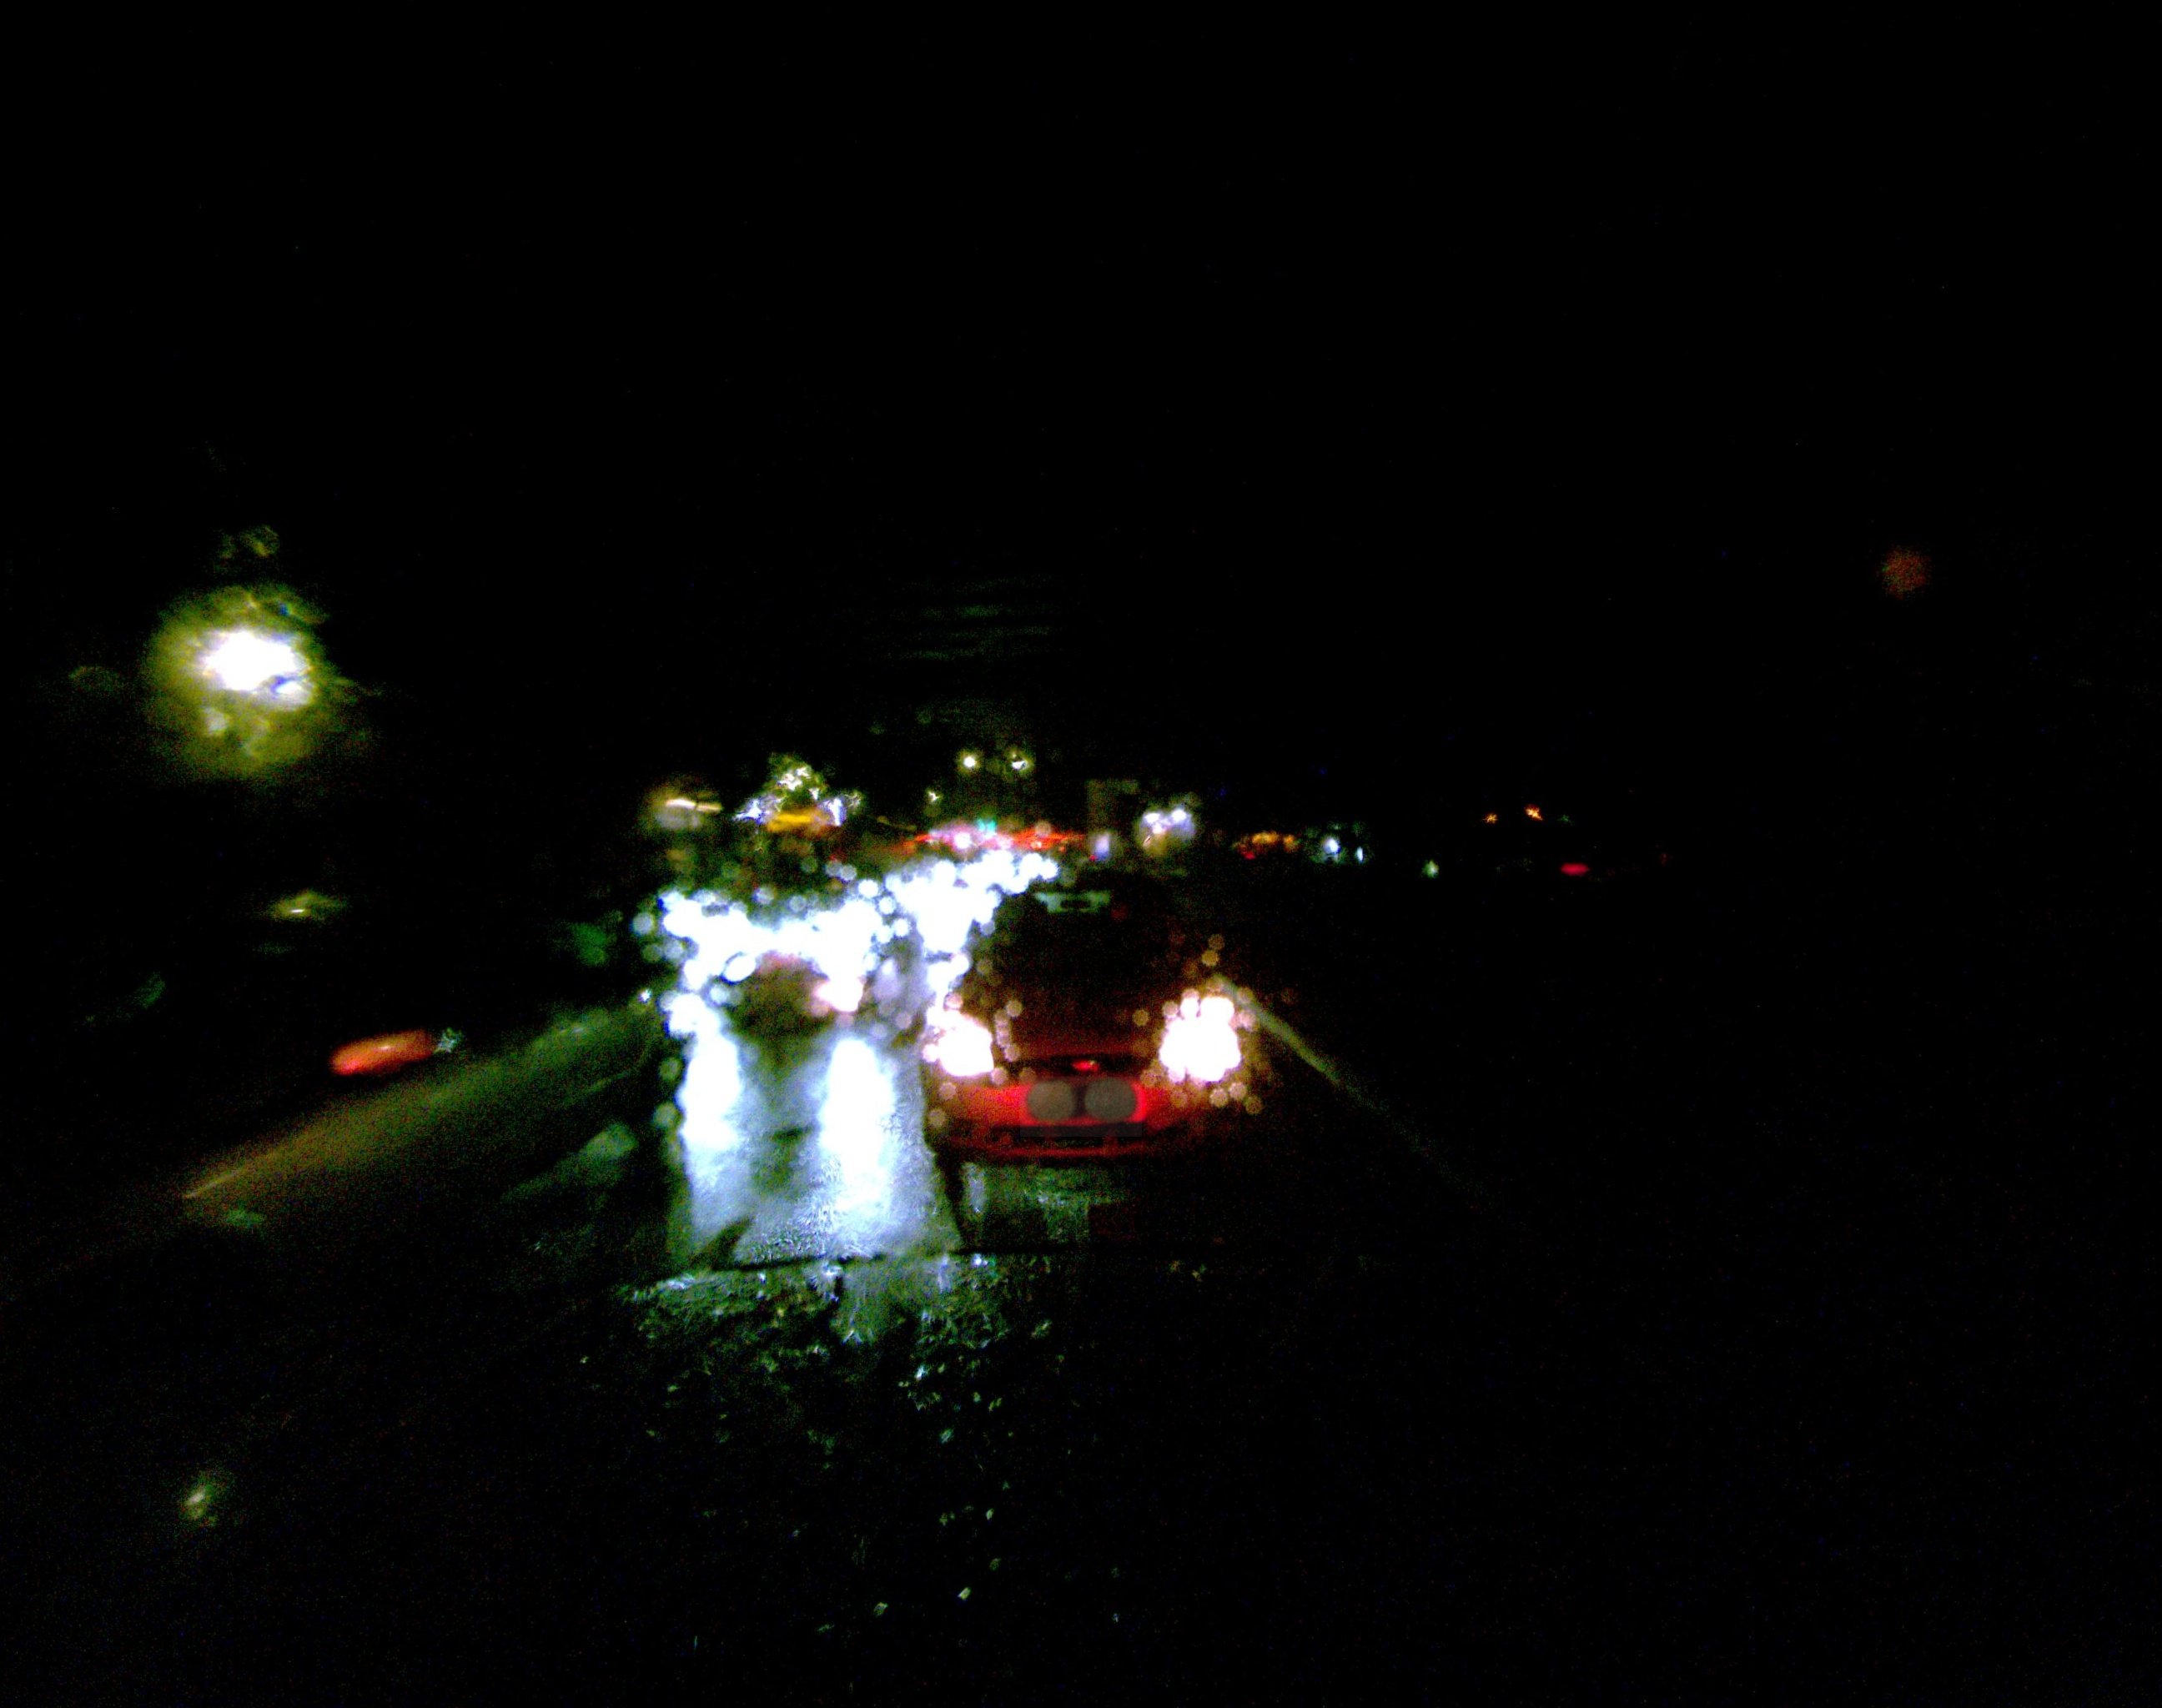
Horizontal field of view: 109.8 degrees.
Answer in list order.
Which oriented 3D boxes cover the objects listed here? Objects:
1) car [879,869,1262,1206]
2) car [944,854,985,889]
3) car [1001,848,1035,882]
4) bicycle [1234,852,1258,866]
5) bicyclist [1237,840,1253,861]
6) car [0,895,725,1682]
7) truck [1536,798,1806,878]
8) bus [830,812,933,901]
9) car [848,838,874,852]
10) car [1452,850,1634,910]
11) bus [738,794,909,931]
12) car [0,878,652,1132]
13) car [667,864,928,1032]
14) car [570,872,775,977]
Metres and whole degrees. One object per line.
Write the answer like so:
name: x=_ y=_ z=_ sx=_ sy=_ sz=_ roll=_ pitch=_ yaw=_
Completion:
car: x=-0.063 y=0.889 z=5.491 sx=1.755 sy=1.438 sz=3.973 roll=0 pitch=1 yaw=0
car: x=-5.204 y=0.736 z=34.330 sx=1.699 sy=1.455 sz=3.971 roll=0 pitch=1 yaw=-6
car: x=-3.465 y=0.555 z=41.366 sx=1.724 sy=1.695 sz=3.971 roll=0 pitch=1 yaw=-6
bicycle: x=11.667 y=0.336 z=53.754 sx=0.629 sy=0.899 sz=2.210 roll=-1 pitch=1 yaw=-17
bicyclist: x=11.631 y=-0.250 z=53.792 sx=0.630 sy=1.427 sz=1.186 roll=-1 pitch=1 yaw=-17
car: x=-3.155 y=1.025 z=2.792 sx=1.724 sy=1.438 sz=4.161 roll=-1 pitch=1 yaw=0
truck: x=36.092 y=-0.951 z=46.941 sx=13.671 sy=4.416 sz=2.743 roll=-1 pitch=1 yaw=7
bus: x=-8.348 y=0.021 z=33.070 sx=2.742 sy=3.219 sz=9.693 roll=-2 pitch=1 yaw=-6
car: x=-23.732 y=-0.953 z=81.923 sx=1.712 sy=1.382 sz=3.990 roll=-2 pitch=1 yaw=-32
car: x=12.813 y=0.652 z=21.476 sx=2.041 sy=1.478 sz=4.495 roll=0 pitch=1 yaw=-7
bus: x=-7.391 y=0.141 z=23.450 sx=2.742 sy=3.258 sz=9.693 roll=-2 pitch=1 yaw=-6
car: x=-6.436 y=1.086 z=7.470 sx=1.724 sy=1.478 sz=4.786 roll=-1 pitch=1 yaw=0
car: x=-3.316 y=0.991 z=9.852 sx=1.724 sy=1.478 sz=4.161 roll=-4 pitch=1 yaw=0
car: x=-7.138 y=1.130 z=13.820 sx=1.725 sy=1.478 sz=4.160 roll=0 pitch=1 yaw=-4
